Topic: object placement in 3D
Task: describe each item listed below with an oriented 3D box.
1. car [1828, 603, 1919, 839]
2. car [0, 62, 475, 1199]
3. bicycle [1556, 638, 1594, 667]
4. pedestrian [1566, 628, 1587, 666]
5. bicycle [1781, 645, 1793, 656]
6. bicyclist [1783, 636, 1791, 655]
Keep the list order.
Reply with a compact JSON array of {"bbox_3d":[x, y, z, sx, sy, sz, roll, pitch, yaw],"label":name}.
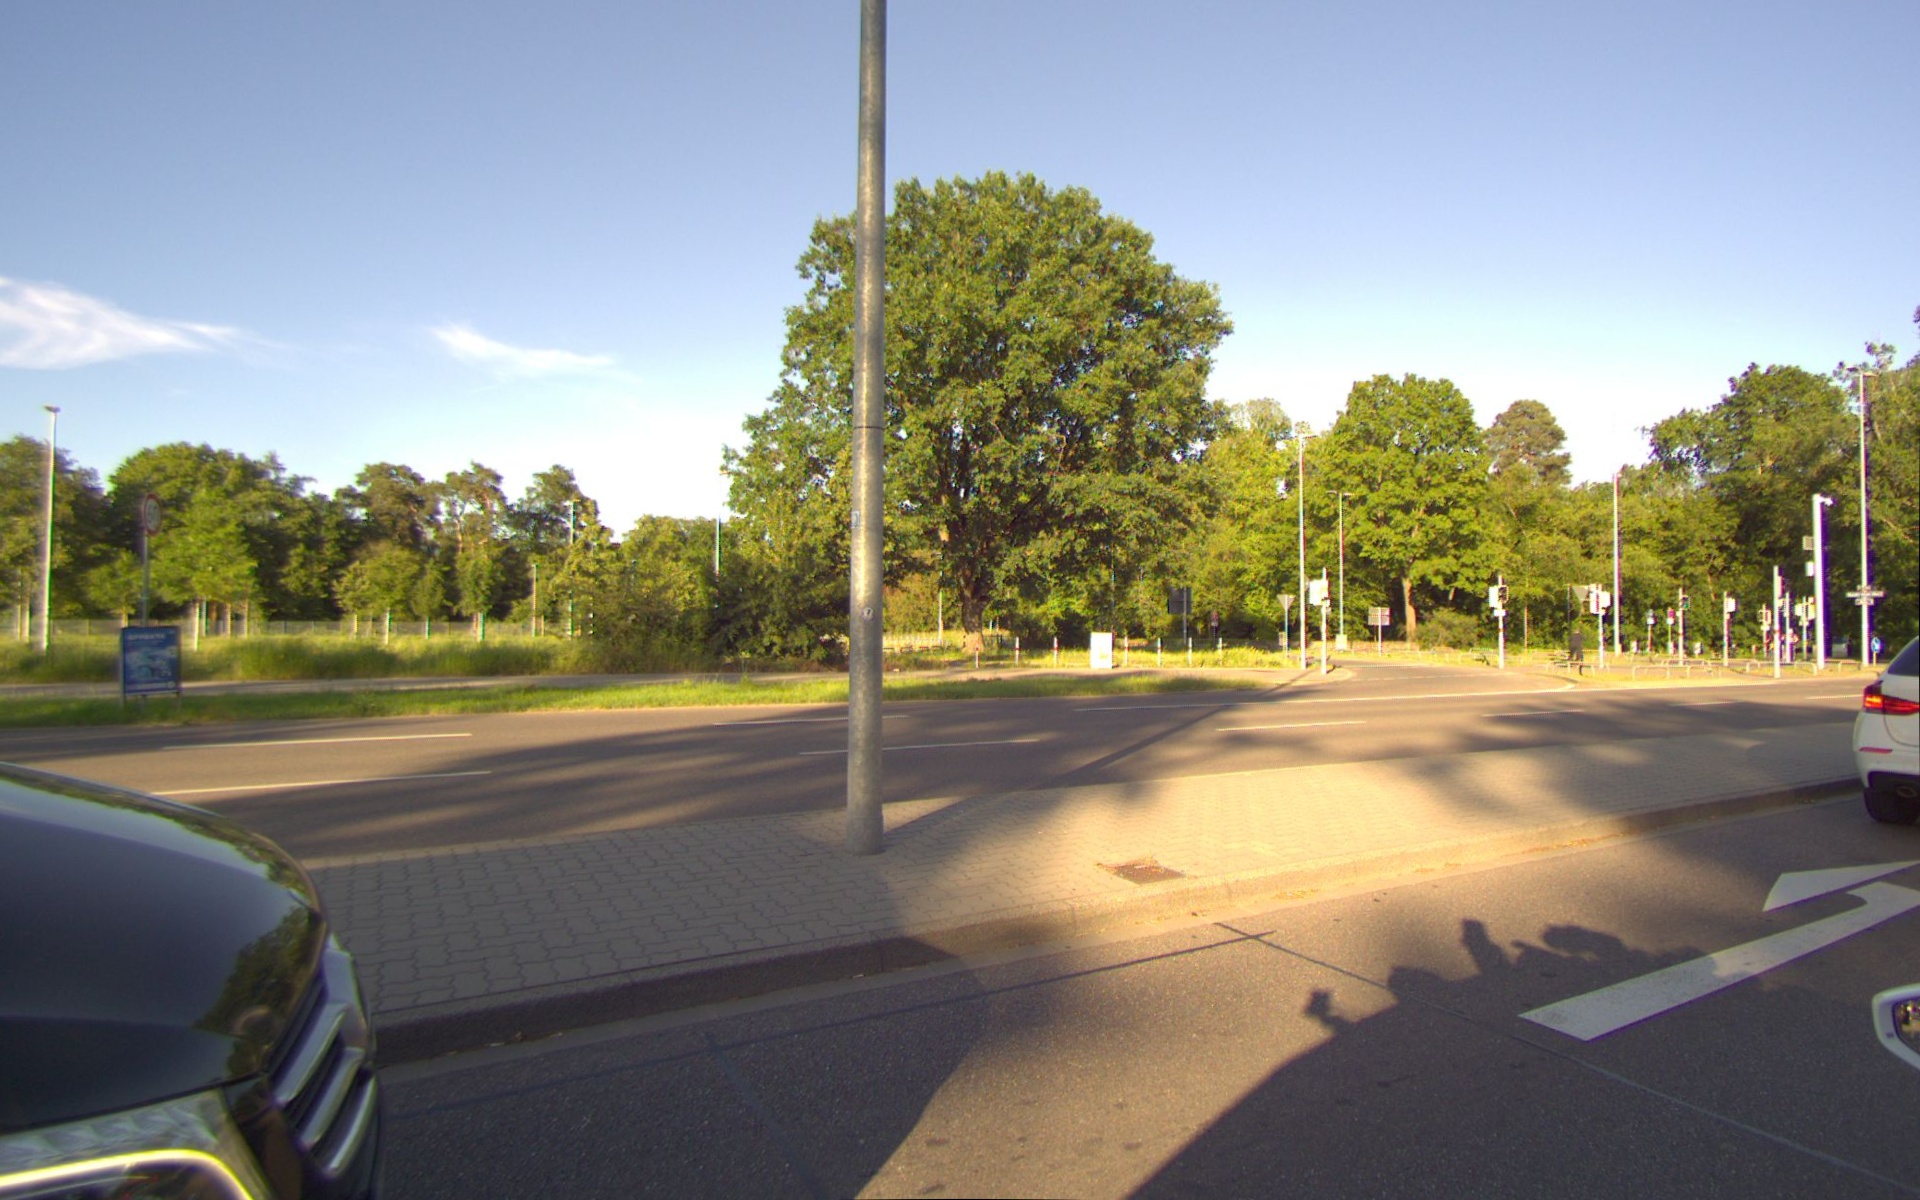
[{"bbox_3d":[8.621,0.875,7.655,4.382,1.602,1.710,1,0,-30],"label":"car"},{"bbox_3d":[-3.068,0.406,0.622,4.817,1.881,1.897,2,0,-31],"label":"car"},{"bbox_3d":[26.250,2.243,42.860,1.980,1.193,0.466,2,0,-31],"label":"bicycle"},{"bbox_3d":[26.324,1.996,42.893,0.641,1.583,0.479,2,0,-30],"label":"pedestrian"},{"bbox_3d":[44.313,2.708,53.810,0.831,0.589,0.264,2,0,-36],"label":"bicycle"},{"bbox_3d":[44.280,2.443,53.781,0.238,0.975,0.271,2,0,-34],"label":"bicyclist"}]
